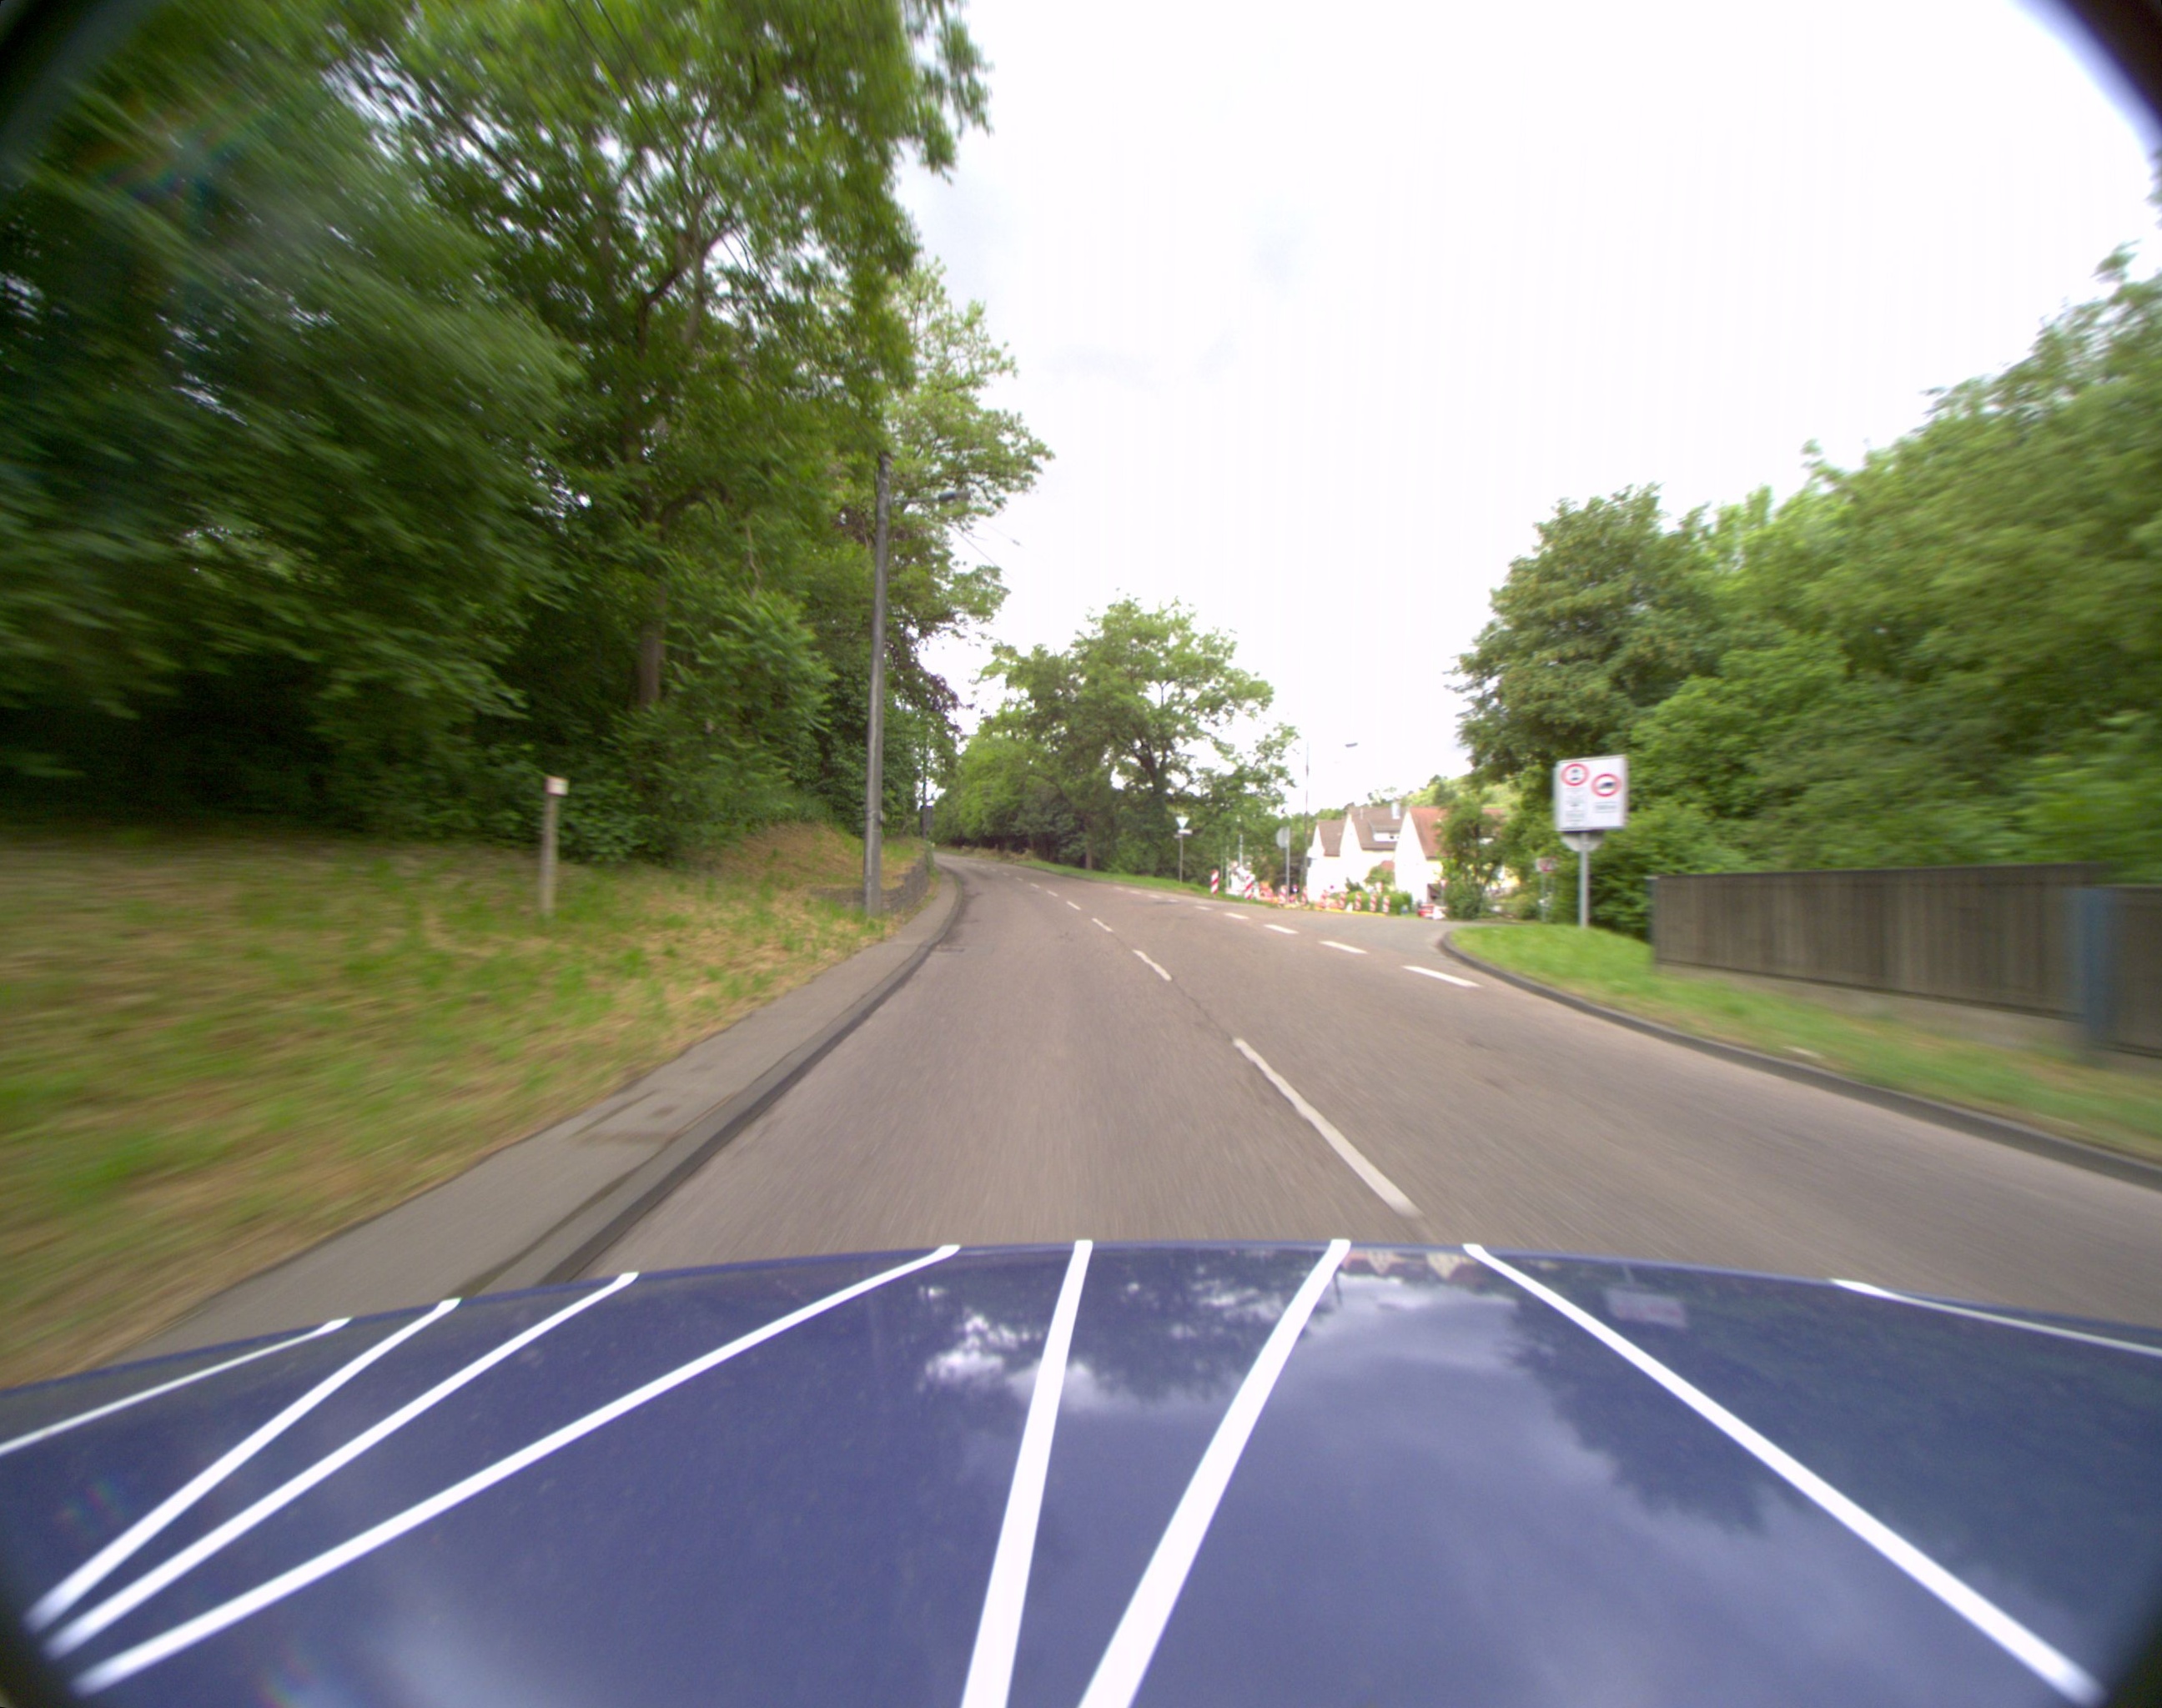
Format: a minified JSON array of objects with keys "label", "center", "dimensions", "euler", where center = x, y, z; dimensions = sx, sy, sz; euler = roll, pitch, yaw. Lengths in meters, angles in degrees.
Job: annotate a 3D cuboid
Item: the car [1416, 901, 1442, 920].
[{"label":"car","center":[30.027,4.846,65.501],"dimensions":[1.751,1.381,4.010],"euler":[7,-1,27]}]
